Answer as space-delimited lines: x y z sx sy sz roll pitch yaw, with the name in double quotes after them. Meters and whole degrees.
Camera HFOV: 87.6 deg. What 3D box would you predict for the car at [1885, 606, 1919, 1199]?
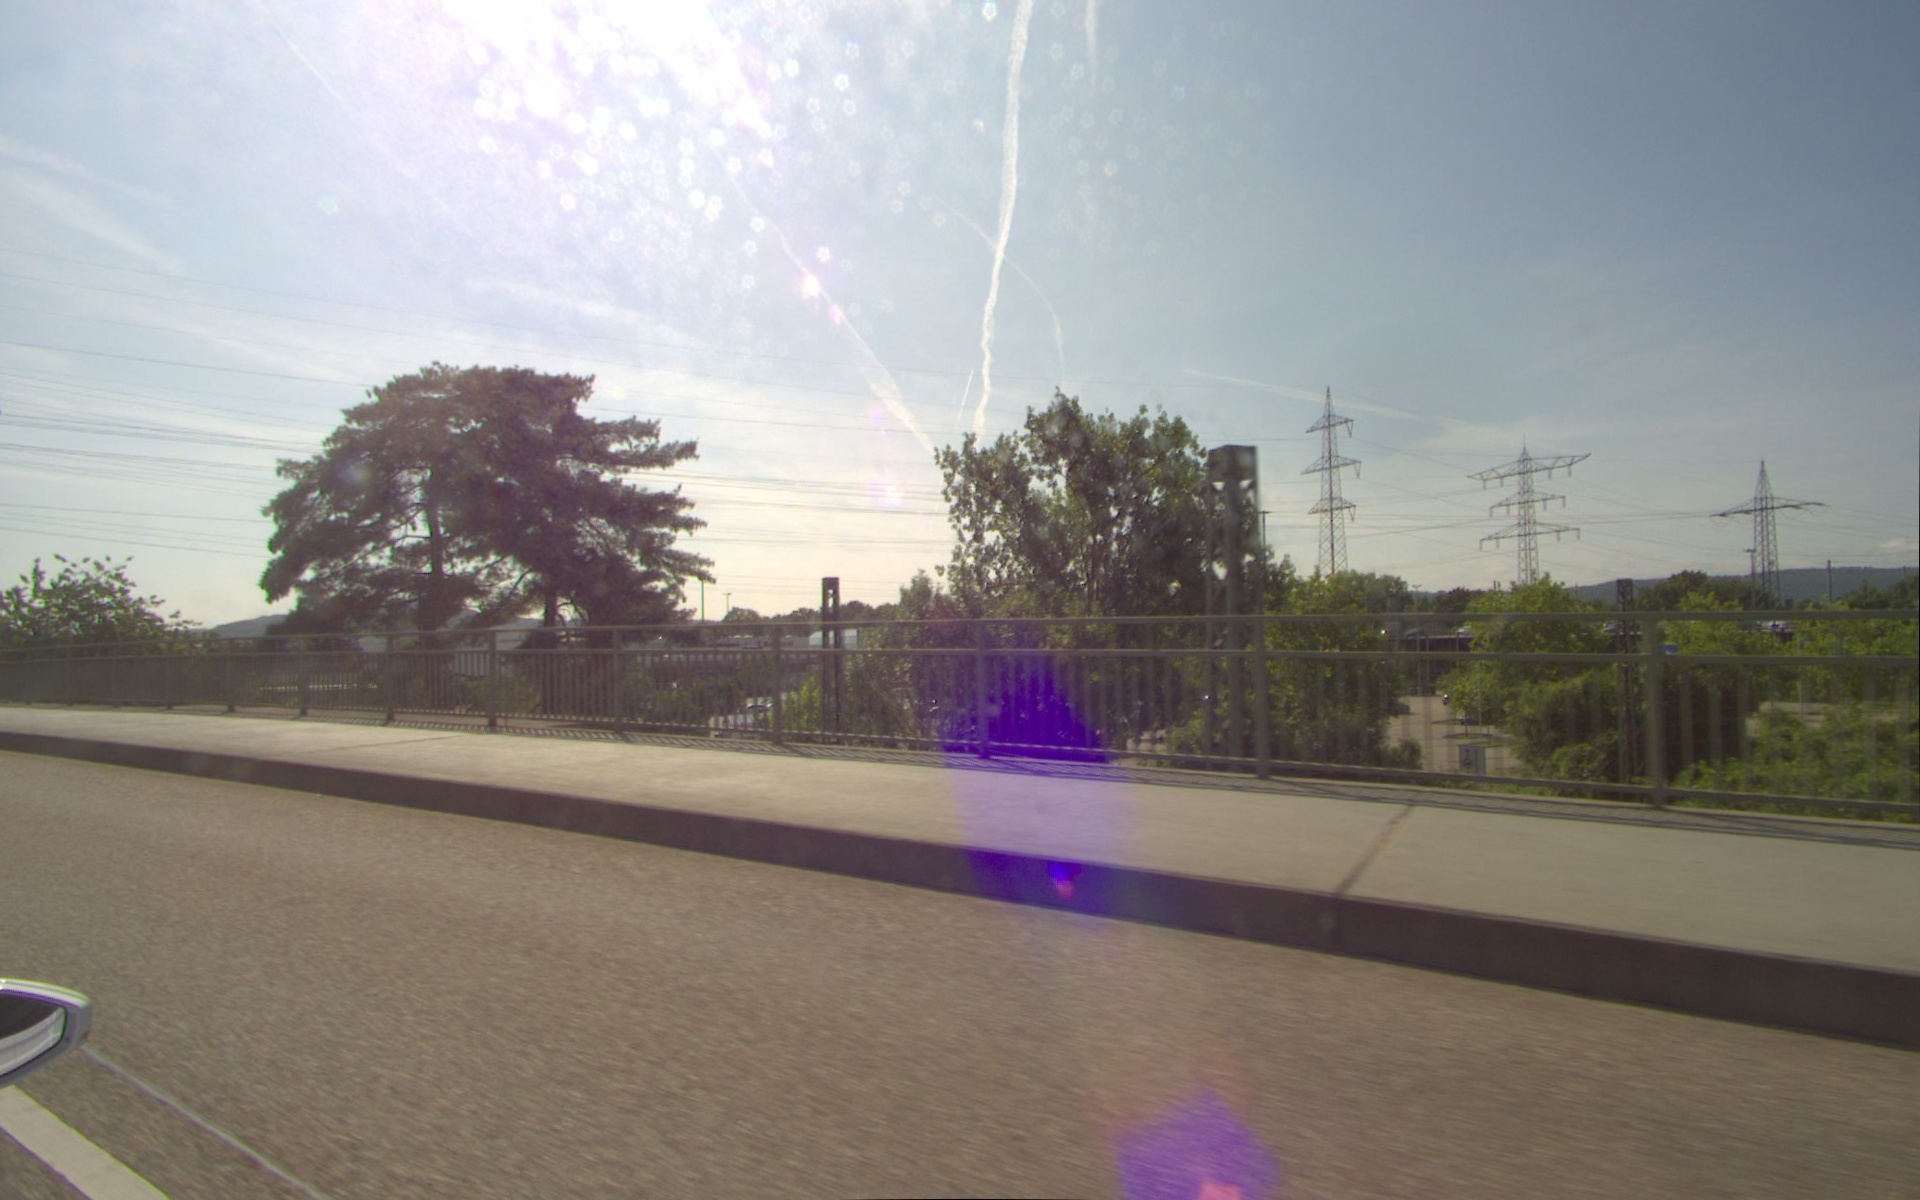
3.653 0.652 0.440 4.457 1.502 1.784 -3 -3 33 "car"
